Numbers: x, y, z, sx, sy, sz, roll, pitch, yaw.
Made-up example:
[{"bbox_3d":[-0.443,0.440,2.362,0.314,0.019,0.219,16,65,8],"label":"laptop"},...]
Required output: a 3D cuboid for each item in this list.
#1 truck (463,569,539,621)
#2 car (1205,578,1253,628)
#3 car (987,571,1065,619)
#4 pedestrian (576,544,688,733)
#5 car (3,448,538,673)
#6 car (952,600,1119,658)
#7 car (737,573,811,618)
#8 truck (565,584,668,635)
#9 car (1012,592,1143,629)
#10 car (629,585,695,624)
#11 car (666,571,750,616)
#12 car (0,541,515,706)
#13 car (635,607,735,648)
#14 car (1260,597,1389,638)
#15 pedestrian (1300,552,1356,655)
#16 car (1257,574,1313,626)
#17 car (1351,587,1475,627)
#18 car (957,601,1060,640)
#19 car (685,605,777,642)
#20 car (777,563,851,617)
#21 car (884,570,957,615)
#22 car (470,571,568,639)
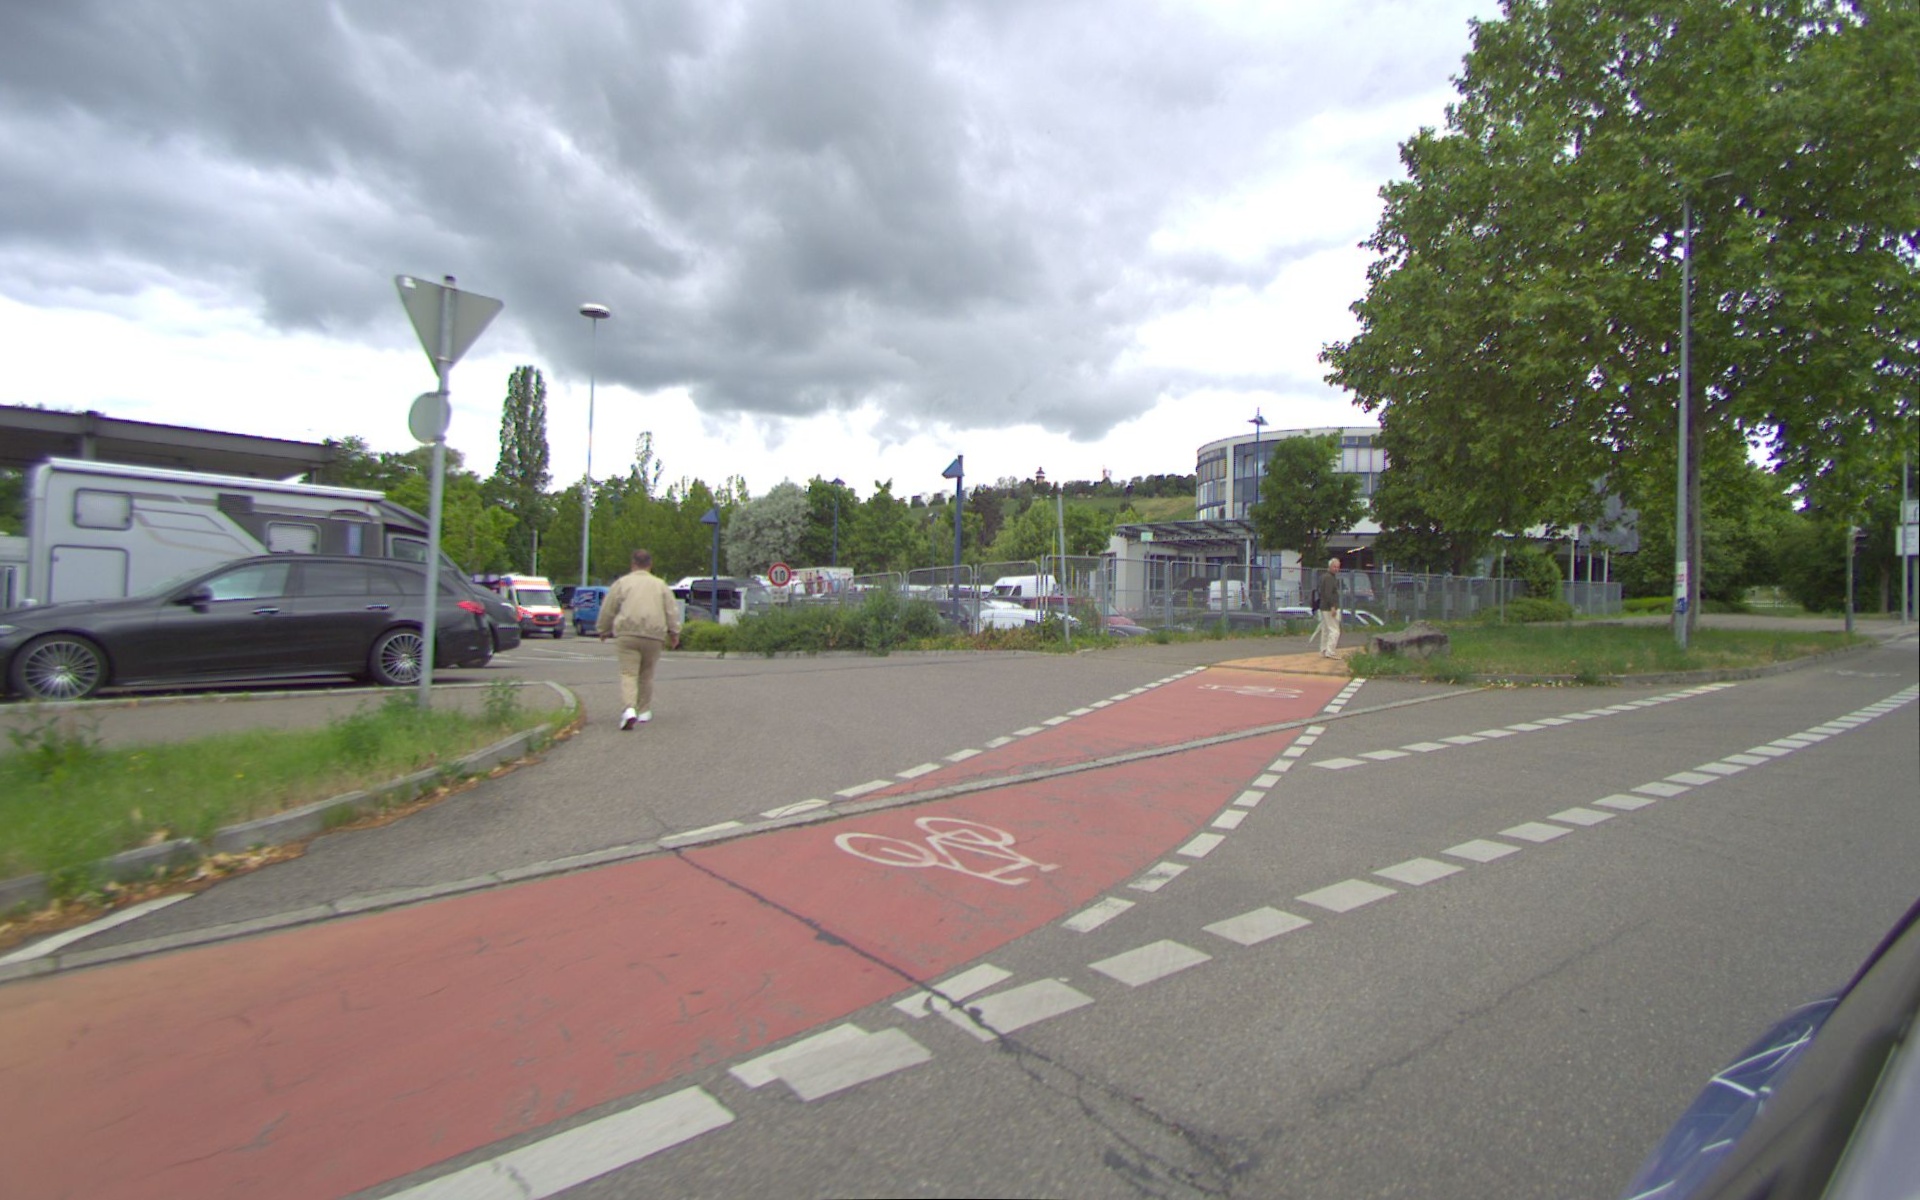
[{"bbox_3d":[-29.970,-0.371,65.995,2.695,3.209,6.356,0,2,-42],"label":"truck"},{"bbox_3d":[13.111,0.130,49.538,2.084,2.304,4.465,2,0,13],"label":"car"},{"bbox_3d":[4.030,-0.284,61.323,4.405,2.790,2.218,2,0,-42],"label":"car"},{"bbox_3d":[-2.893,0.305,9.003,0.795,1.585,0.946,1,2,-9],"label":"pedestrian"},{"bbox_3d":[-10.365,-0.374,15.888,1.993,2.855,6.616,-2,-4,44],"label":"car"},{"bbox_3d":[1.839,0.767,25.648,1.965,1.335,3.992,2,-3,-40],"label":"car"},{"bbox_3d":[-11.278,-0.275,61.196,4.469,2.555,2.186,2,0,44],"label":"car"},{"bbox_3d":[-16.277,0.438,47.757,2.695,2.271,5.434,0,0,-42],"label":"truck"},{"bbox_3d":[4.967,0.488,43.554,1.789,1.467,5.793,2,-3,-45],"label":"car"},{"bbox_3d":[-16.495,0.222,55.888,1.966,2.039,3.992,-1,1,-42],"label":"car"},{"bbox_3d":[-17.189,-0.468,69.211,5.208,2.958,1.997,-1,1,-41],"label":"car"},{"bbox_3d":[-7.599,0.218,10.814,4.898,1.434,1.848,0,-1,-44],"label":"car"},{"bbox_3d":[-9.724,0.988,35.627,1.964,1.335,3.994,2,-3,-39],"label":"car"},{"bbox_3d":[13.571,0.688,37.791,1.789,1.467,4.178,2,-3,-45],"label":"car"},{"bbox_3d":[6.411,0.041,17.645,0.732,1.748,0.494,3,3,43],"label":"pedestrian"},{"bbox_3d":[15.407,0.005,48.190,2.084,2.304,4.465,2,0,13],"label":"car"},{"bbox_3d":[18.084,0.316,40.519,1.789,1.467,4.178,2,-3,-45],"label":"car"},{"bbox_3d":[1.854,0.839,39.774,1.786,1.467,3.993,2,-3,-40],"label":"car"},{"bbox_3d":[-8.951,0.941,39.432,1.964,1.335,3.994,2,-3,-39],"label":"car"},{"bbox_3d":[-9.205,-0.660,63.609,4.507,3.239,2.186,2,0,44],"label":"car"},{"bbox_3d":[-2.621,-0.485,67.357,4.405,2.790,2.218,2,0,-42],"label":"car"},{"bbox_3d":[-19.702,0.147,45.034,2.182,2.790,6.320,2,0,-40],"label":"car"}]
